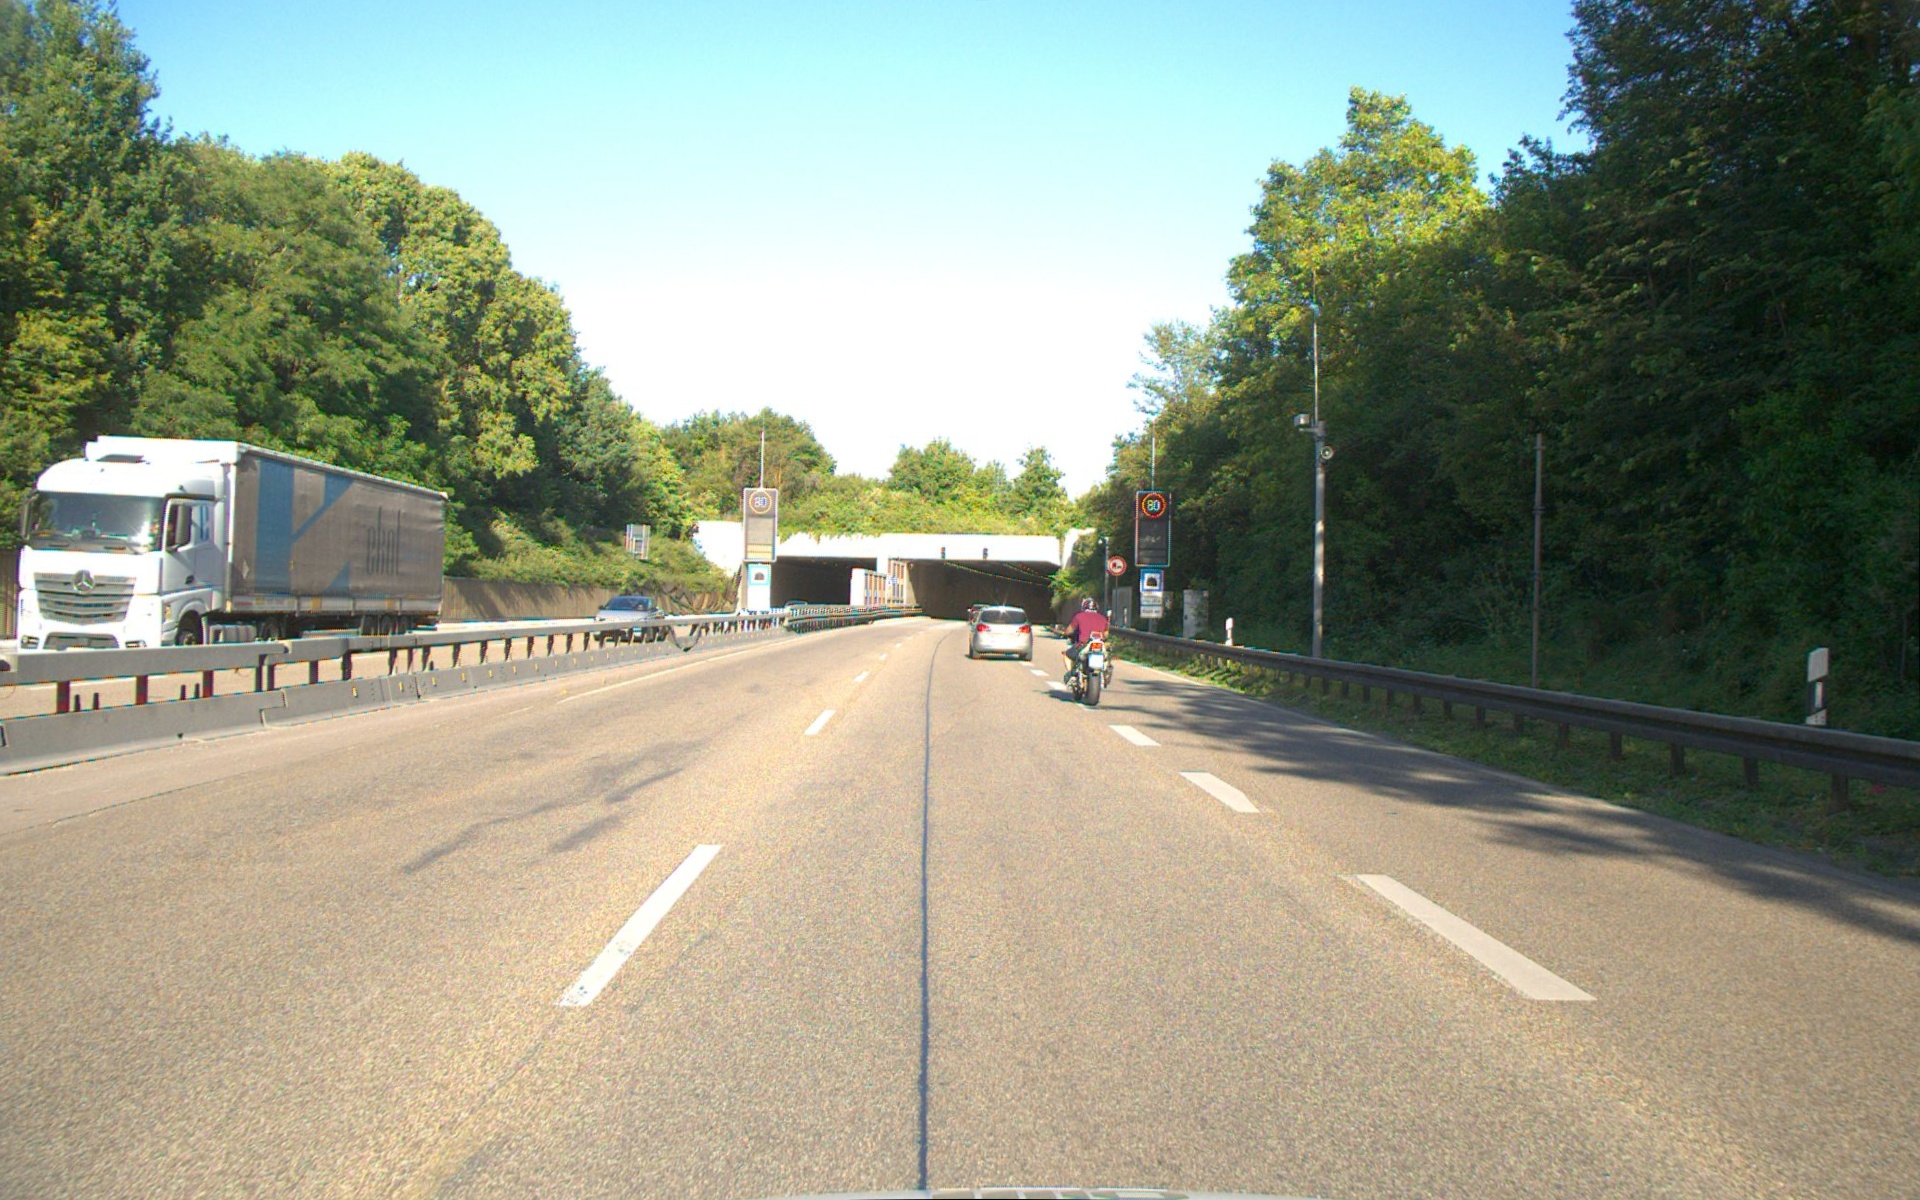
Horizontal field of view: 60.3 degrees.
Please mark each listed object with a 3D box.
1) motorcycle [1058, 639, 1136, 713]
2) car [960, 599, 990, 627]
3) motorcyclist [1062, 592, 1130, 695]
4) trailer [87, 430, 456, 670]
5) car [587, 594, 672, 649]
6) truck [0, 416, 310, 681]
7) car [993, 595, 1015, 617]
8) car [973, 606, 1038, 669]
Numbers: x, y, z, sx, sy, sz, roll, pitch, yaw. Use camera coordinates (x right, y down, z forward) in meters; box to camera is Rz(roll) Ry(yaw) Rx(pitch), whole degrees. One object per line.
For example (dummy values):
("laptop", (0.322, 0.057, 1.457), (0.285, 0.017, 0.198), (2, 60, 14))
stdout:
("motorcycle", (2.096, 1.147, 25.680), (0.841, 1.008, 2.727), (3, -1, -3))
("car", (1.074, 0.930, 119.383), (1.953, 1.959, 3.999), (2, 0, -2))
("motorcyclist", (2.115, 0.659, 25.751), (0.865, 1.527, 1.062), (3, 0, -2))
("trailer", (-15.016, -1.004, 37.971), (2.692, 4.354, 14.081), (3, 0, -1))
("car", (-11.452, 0.716, 57.655), (1.953, 1.687, 4.937), (3, 0, -1))
("truck", (-14.849, -0.896, 31.081), (2.680, 4.335, 6.385), (3, 0, -1))
("car", (4.300, 0.572, 160.671), (1.952, 1.959, 4.001), (2, 0, 3))
("car", (1.252, 1.039, 46.973), (1.633, 1.579, 4.000), (3, 0, -1))
